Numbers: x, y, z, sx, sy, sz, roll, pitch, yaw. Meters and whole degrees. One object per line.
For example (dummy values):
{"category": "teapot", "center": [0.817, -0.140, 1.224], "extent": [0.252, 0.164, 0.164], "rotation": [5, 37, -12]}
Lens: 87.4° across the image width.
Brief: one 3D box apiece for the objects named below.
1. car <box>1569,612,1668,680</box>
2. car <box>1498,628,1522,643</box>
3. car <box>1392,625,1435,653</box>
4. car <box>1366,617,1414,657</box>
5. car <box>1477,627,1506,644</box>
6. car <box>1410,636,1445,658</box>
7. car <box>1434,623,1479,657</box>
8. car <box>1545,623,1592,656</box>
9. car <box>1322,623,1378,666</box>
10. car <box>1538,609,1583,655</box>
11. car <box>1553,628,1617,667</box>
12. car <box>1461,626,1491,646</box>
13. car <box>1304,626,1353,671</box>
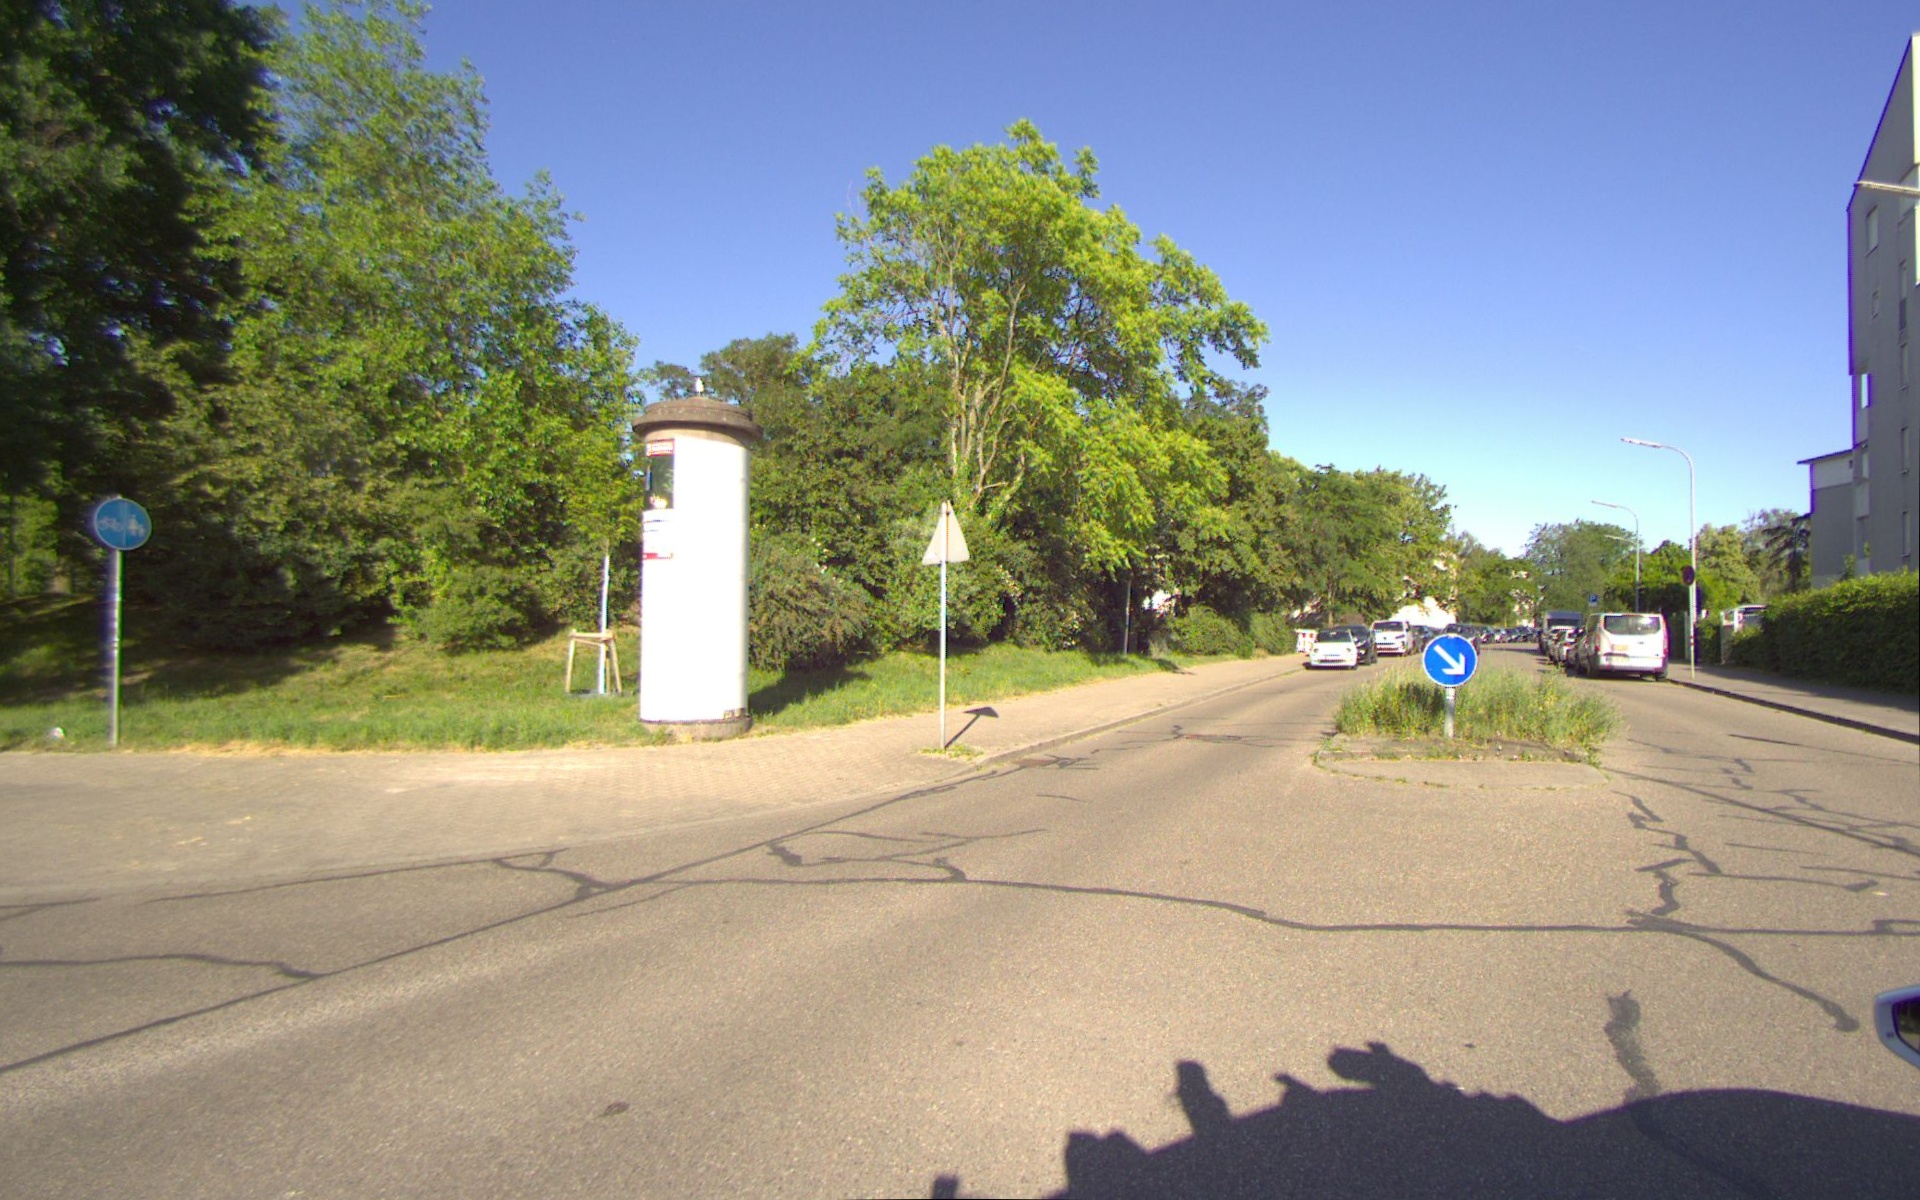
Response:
{"category": "car", "center": [20.365, 1.379, 31.288], "extent": [1.963, 1.937, 4.948], "rotation": [-1, -2, 26]}
{"category": "car", "center": [53.690, 3.464, 97.959], "extent": [1.638, 1.445, 4.037], "rotation": [-3, -3, 34]}
{"category": "car", "center": [28.182, 2.384, 62.409], "extent": [1.725, 1.639, 4.350], "rotation": [-1, -2, 34]}
{"category": "car", "center": [22.426, 1.899, 52.304], "extent": [1.836, 1.987, 4.663], "rotation": [-1, -2, 29]}
{"category": "car", "center": [49.606, 3.305, 93.764], "extent": [1.640, 1.505, 4.036], "rotation": [-3, -3, 38]}
{"category": "car", "center": [32.057, 3.204, 68.837], "extent": [1.647, 1.456, 3.990], "rotation": [-2, -3, 32]}
{"category": "car", "center": [26.226, 2.083, 52.987], "extent": [1.885, 1.728, 4.178], "rotation": [-2, -2, 29]}
{"category": "car", "center": [32.488, 2.110, 53.756], "extent": [1.881, 1.688, 4.369], "rotation": [-1, -2, 28]}
{"category": "car", "center": [16.149, 1.807, 41.501], "extent": [1.649, 1.660, 4.245], "rotation": [-2, -2, 28]}
{"category": "car", "center": [34.922, 1.861, 58.458], "extent": [2.074, 2.519, 5.844], "rotation": [1, -1, 31]}
{"category": "car", "center": [25.162, 1.881, 40.555], "extent": [1.881, 1.508, 4.369], "rotation": [-1, -2, 28]}
{"category": "car", "center": [45.647, 3.186, 88.766], "extent": [1.649, 1.688, 4.390], "rotation": [-2, -3, 36]}
{"category": "car", "center": [13.591, 1.747, 36.950], "extent": [1.600, 1.548, 3.419], "rotation": [-1, -2, 22]}
